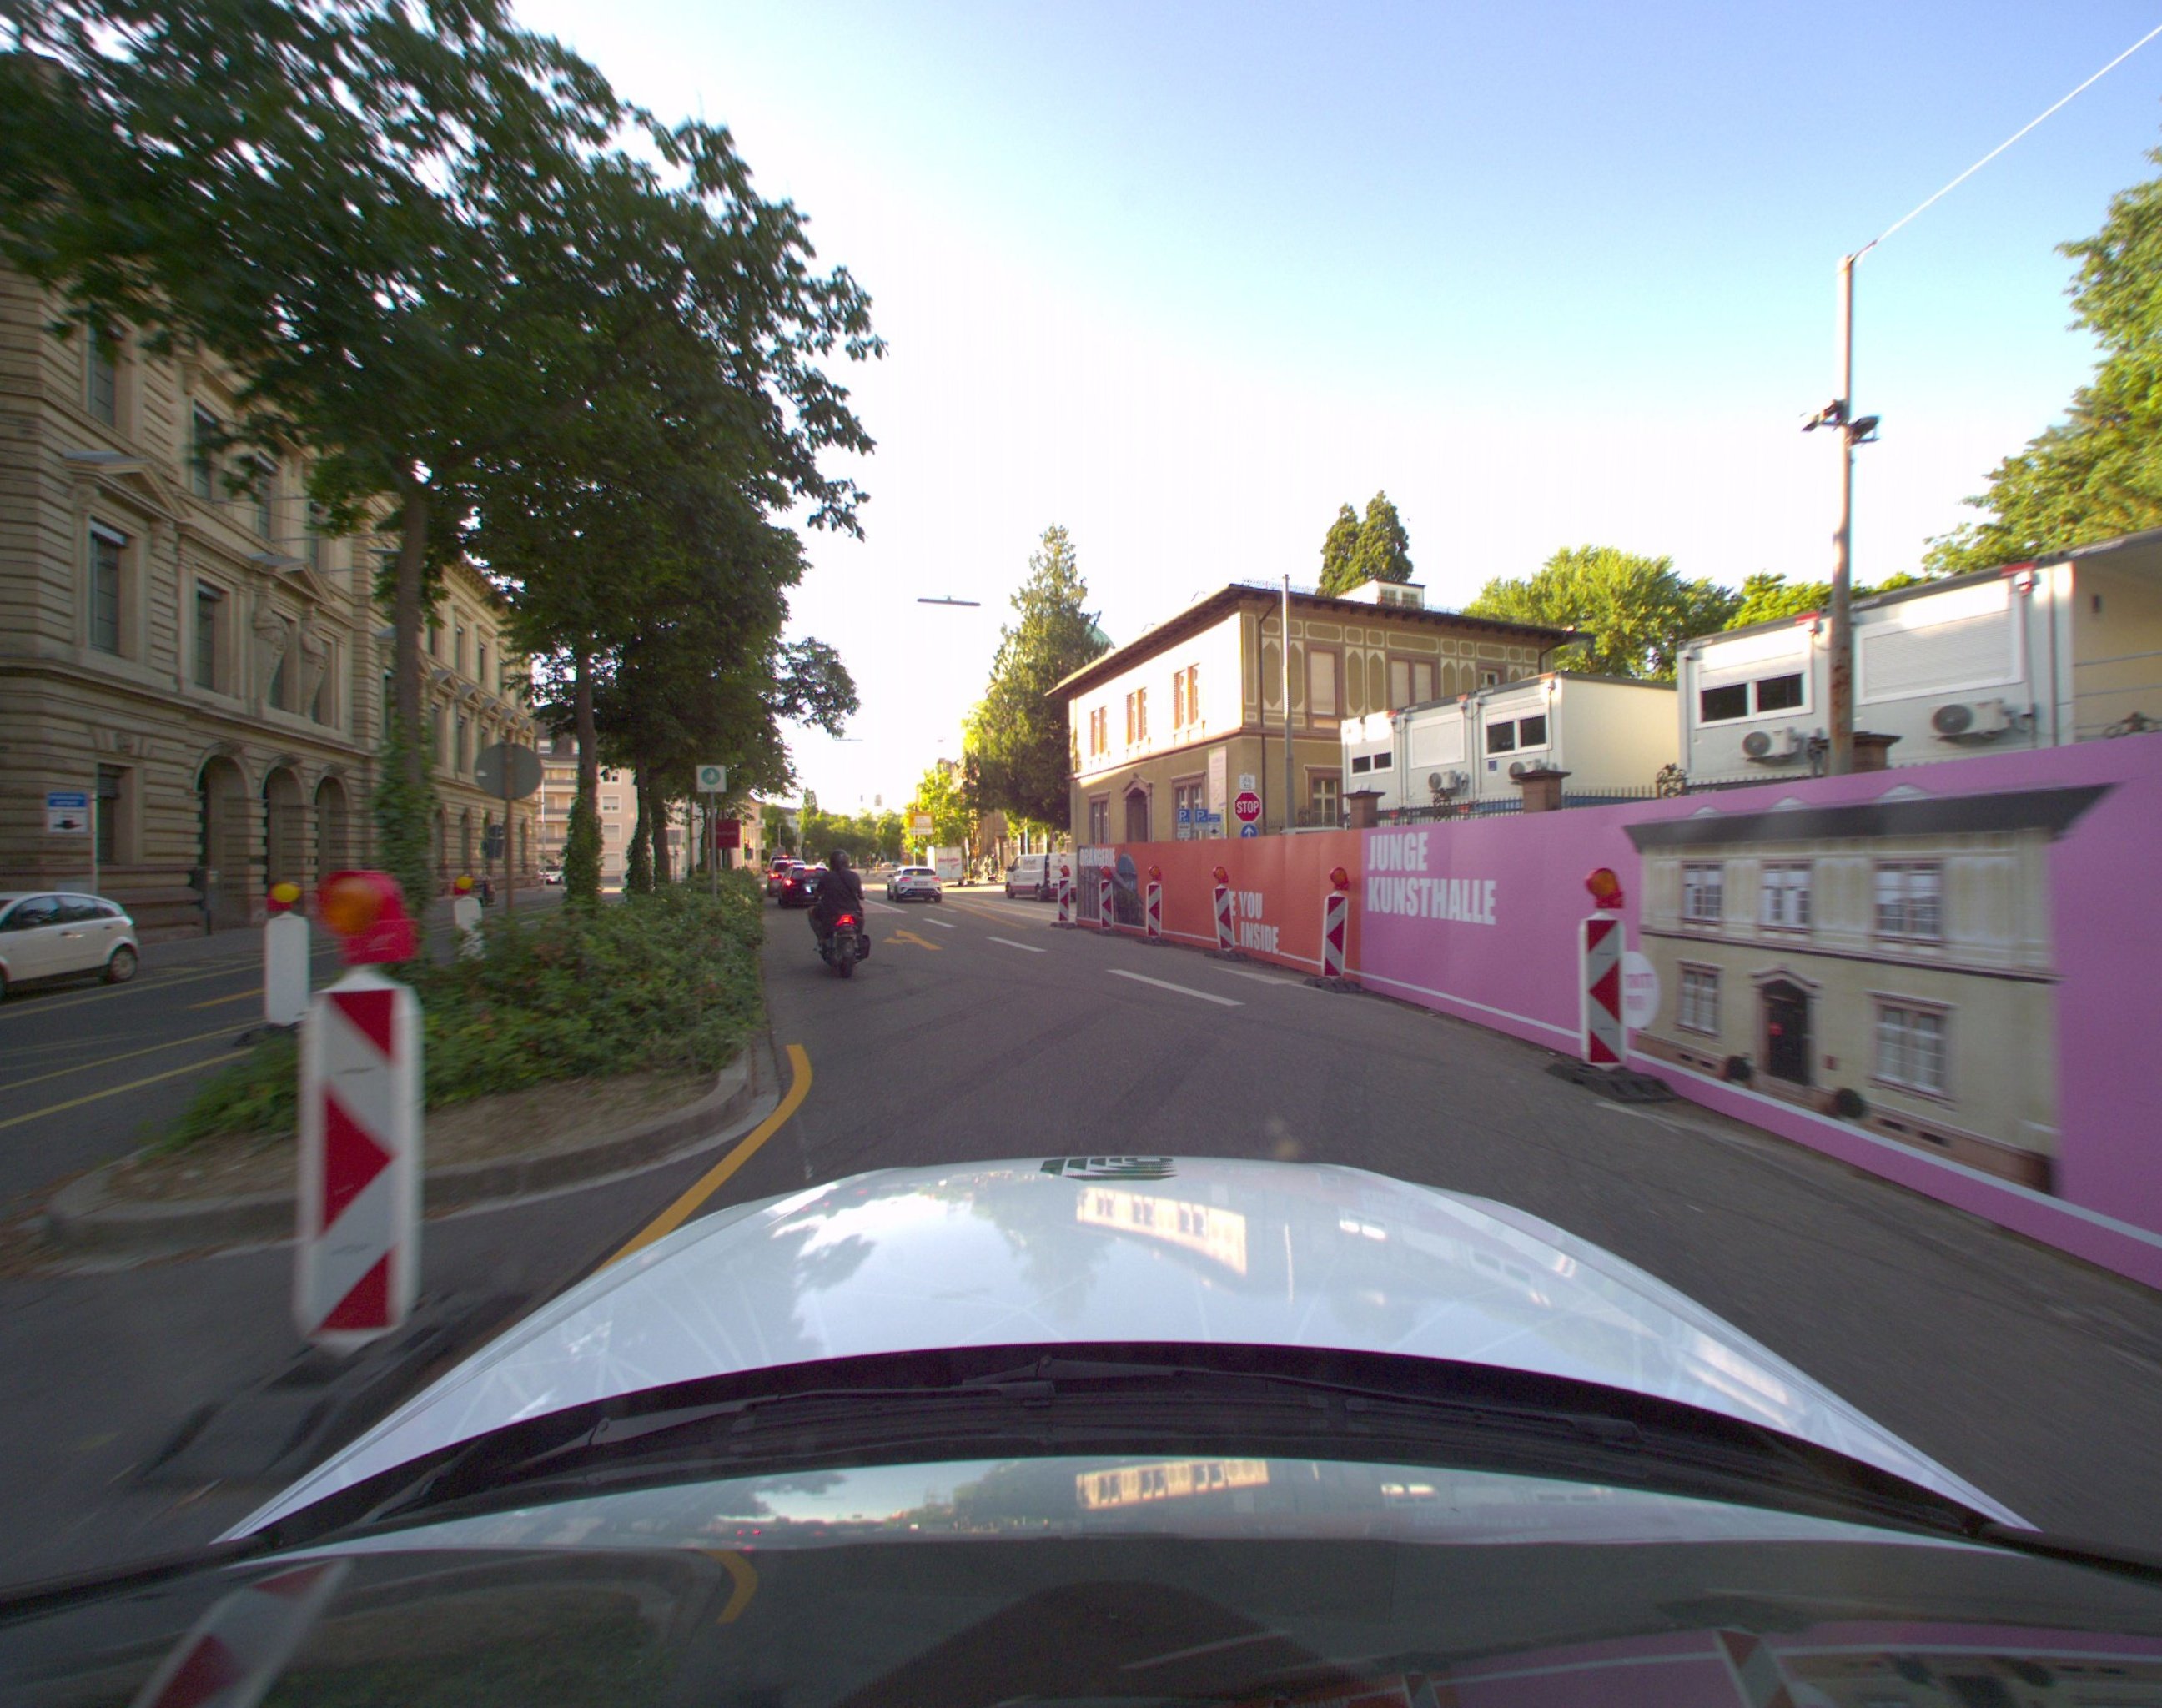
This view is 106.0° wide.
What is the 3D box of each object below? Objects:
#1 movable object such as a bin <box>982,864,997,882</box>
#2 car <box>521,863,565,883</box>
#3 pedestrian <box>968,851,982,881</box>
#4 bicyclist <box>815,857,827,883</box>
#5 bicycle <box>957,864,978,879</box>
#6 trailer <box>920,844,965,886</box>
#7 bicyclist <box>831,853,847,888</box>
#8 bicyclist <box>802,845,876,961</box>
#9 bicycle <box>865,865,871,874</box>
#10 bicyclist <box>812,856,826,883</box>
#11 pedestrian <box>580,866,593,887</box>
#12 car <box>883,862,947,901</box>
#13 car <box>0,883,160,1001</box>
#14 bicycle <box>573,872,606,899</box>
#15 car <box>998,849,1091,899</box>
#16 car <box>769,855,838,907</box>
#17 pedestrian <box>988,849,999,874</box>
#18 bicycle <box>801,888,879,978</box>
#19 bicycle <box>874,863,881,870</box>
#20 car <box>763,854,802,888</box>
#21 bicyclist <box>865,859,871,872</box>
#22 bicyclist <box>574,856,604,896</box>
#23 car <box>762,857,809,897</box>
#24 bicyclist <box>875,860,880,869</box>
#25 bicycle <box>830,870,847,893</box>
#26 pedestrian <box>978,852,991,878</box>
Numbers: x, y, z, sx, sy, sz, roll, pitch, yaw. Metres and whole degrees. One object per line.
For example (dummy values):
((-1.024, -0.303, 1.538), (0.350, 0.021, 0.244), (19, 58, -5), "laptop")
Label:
((-6.018, 1.230, 53.573), (0.714, 1.117, 1.043), (-2, 1, -22), "movable object such as a bin")
((-47.315, 1.664, 71.695), (1.999, 1.686, 4.587), (0, 0, -18), "car")
((-7.014, 0.785, 53.838), (0.718, 1.894, 0.883), (-1, 0, -23), "pedestrian")
((-16.213, 0.994, 50.788), (0.672, 1.608, 0.820), (0, -1, -18), "bicyclist")
((-8.601, 1.314, 61.660), (1.471, 1.039, 0.476), (-1, 0, -21), "bicycle")
((-9.029, 0.673, 52.686), (2.086, 2.528, 4.463), (-2, 0, -19), "trailer")
((-11.594, 0.804, 38.945), (0.675, 1.652, 0.881), (1, -1, -20), "bicyclist")
((-3.426, 0.662, 11.471), (0.870, 1.523, 1.222), (2, -2, -21), "bicyclist")
((-26.645, 1.943, 101.859), (0.644, 1.025, 2.200), (1, -1, -16), "bicycle")
((-15.627, 0.902, 48.598), (0.805, 1.608, 0.820), (-1, -1, -18), "bicyclist")
((-38.552, 1.762, 63.527), (0.633, 1.584, 0.813), (3, -1, -18), "pedestrian")
((-6.950, 1.104, 33.753), (2.001, 1.453, 3.972), (-1, -1, -20), "car")
((-15.686, 1.230, 11.693), (1.674, 1.508, 3.819), (0, 0, -21), "car")
((-23.207, 1.472, 38.473), (0.884, 1.194, 2.160), (-3, 0, -20), "bicycle")
((-1.654, 0.849, 34.474), (2.024, 1.945, 5.435), (1, -1, -25), "car")
((-9.876, 0.894, 28.768), (2.002, 1.657, 4.700), (0, -1, -23), "car")
((-6.254, 0.515, 57.928), (0.641, 1.768, 0.733), (0, -1, -18), "pedestrian")
((-3.439, 1.042, 11.467), (0.873, 1.043, 2.436), (1, -1, -21), "bicycle")
((-32.756, 1.975, 131.042), (0.752, 1.026, 1.865), (1, -2, -6), "bicycle")
((-17.921, 1.006, 48.809), (2.076, 1.915, 4.997), (-1, -1, -21), "car")
((-26.642, 1.492, 101.826), (0.637, 1.614, 1.276), (1, -1, -16), "bicyclist")
((-23.207, 1.035, 38.419), (0.884, 1.834, 1.277), (-3, 0, -21), "bicyclist")
((-14.195, 1.047, 39.088), (1.998, 1.749, 4.714), (0, 0, -20), "car")
((-32.749, 1.677, 131.062), (0.746, 1.537, 0.967), (0, -1, -7), "bicyclist")
((-11.625, 1.300, 39.046), (0.671, 1.072, 1.741), (1, -1, -19), "bicycle")
((-6.444, 0.752, 54.397), (0.685, 1.701, 0.689), (-1, 0, -22), "pedestrian")
